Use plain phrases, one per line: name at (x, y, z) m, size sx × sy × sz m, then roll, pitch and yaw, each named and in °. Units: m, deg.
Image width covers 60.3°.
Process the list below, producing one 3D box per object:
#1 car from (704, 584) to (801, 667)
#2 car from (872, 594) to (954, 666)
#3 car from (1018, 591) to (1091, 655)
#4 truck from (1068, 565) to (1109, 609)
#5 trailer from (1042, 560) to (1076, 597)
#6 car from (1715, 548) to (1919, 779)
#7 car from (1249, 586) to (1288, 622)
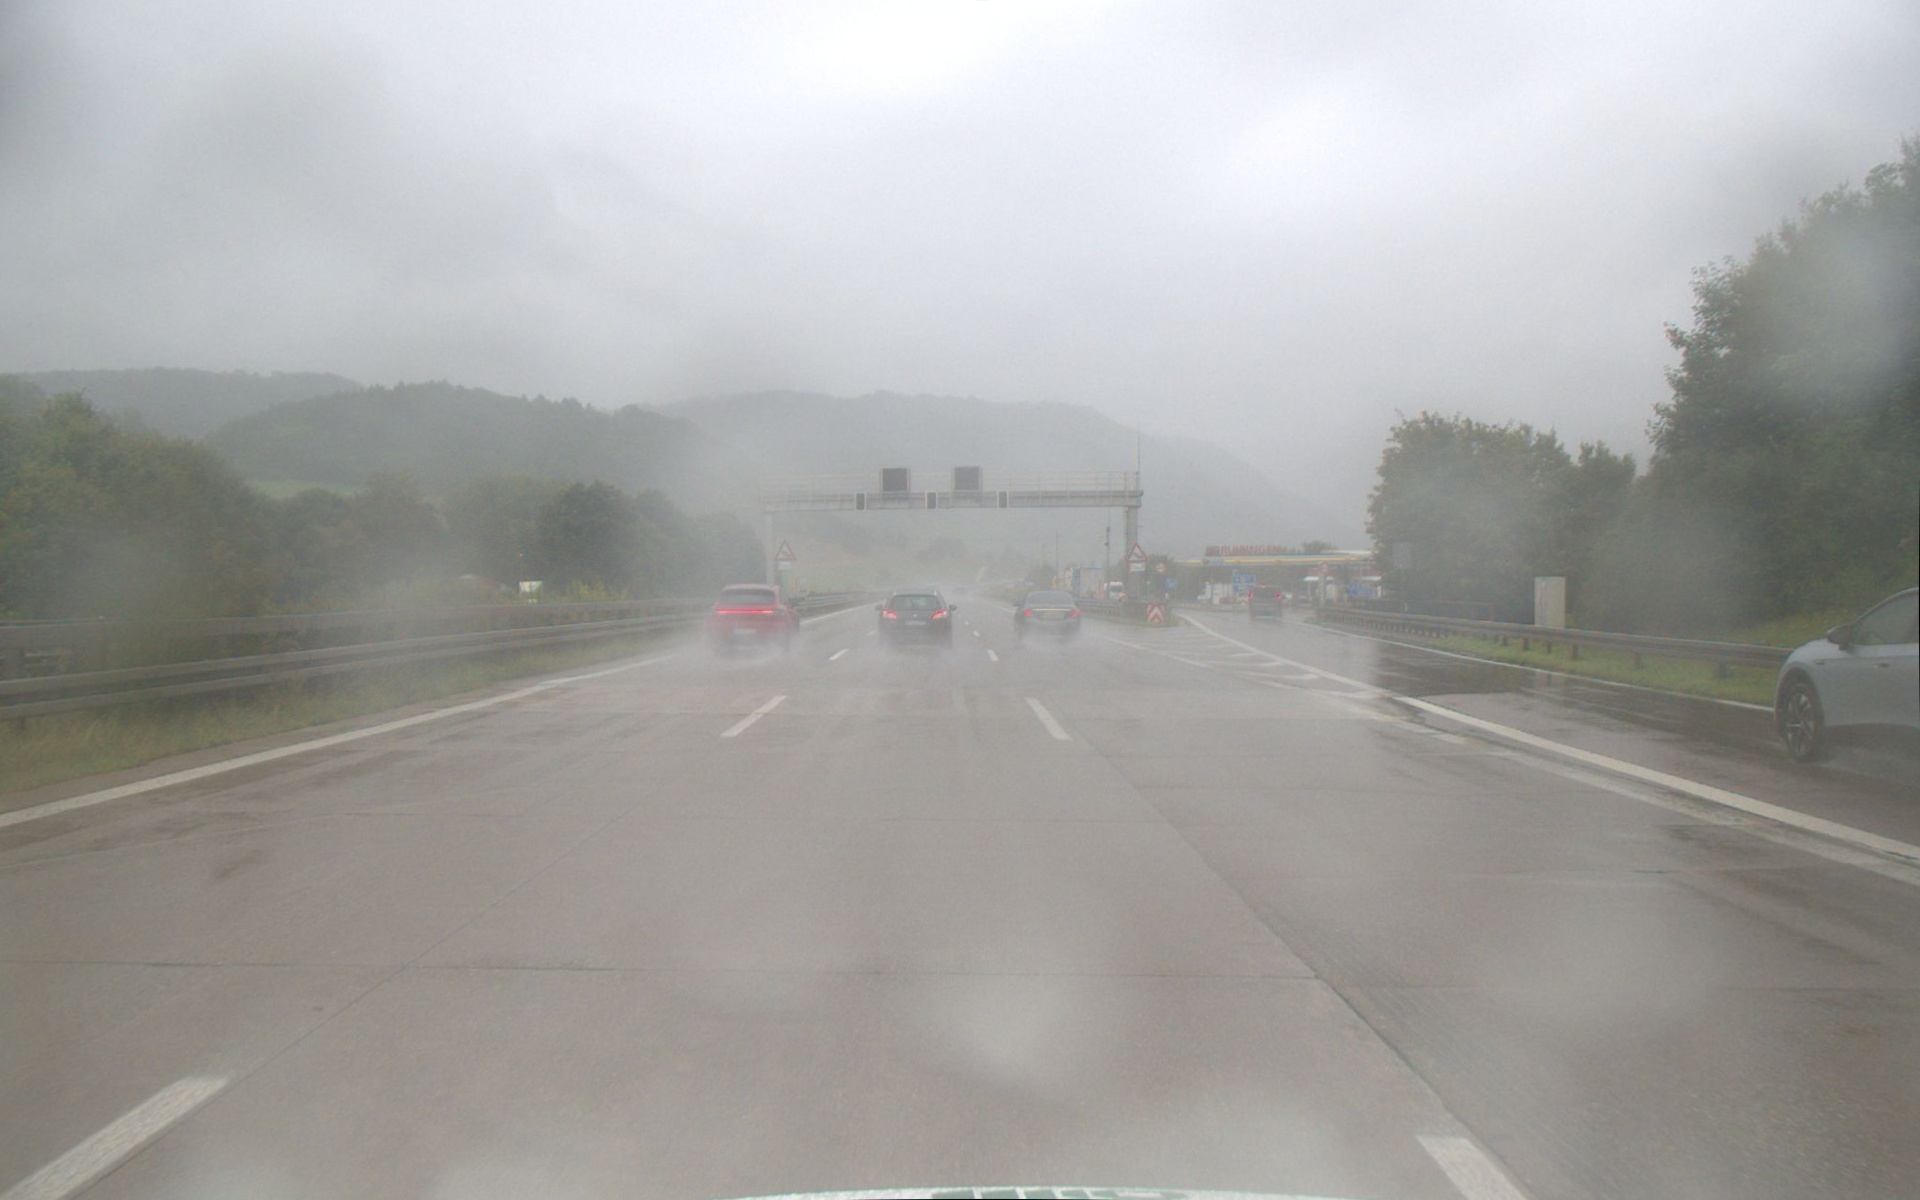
car at (-4.811, 0.553, 38.757) m, size 1.846 × 1.847 × 3.999 m, roll 0°, pitch 0°, yaw -1°
car at (-1.084, 0.684, 39.797) m, size 1.821 × 1.617 × 4.000 m, roll 1°, pitch 0°, yaw 0°
car at (2.768, 0.658, 49.191) m, size 1.931 × 1.791 × 4.000 m, roll 0°, pitch 0°, yaw 0°
truck at (13.639, -1.411, 176.649) m, size 3.332 × 4.479 × 11.048 m, roll 2°, pitch 0°, yaw 0°
trailer at (12.322, -2.593, 206.809) m, size 3.444 × 4.336 × 11.920 m, roll 1°, pitch 0°, yaw 0°
car at (8.405, 0.509, 13.612) m, size 1.952 × 1.781 × 5.664 m, roll 1°, pitch 0°, yaw 2°
car at (18.078, 0.198, 97.073) m, size 1.951 × 2.049 × 5.059 m, roll 1°, pitch 0°, yaw 8°
